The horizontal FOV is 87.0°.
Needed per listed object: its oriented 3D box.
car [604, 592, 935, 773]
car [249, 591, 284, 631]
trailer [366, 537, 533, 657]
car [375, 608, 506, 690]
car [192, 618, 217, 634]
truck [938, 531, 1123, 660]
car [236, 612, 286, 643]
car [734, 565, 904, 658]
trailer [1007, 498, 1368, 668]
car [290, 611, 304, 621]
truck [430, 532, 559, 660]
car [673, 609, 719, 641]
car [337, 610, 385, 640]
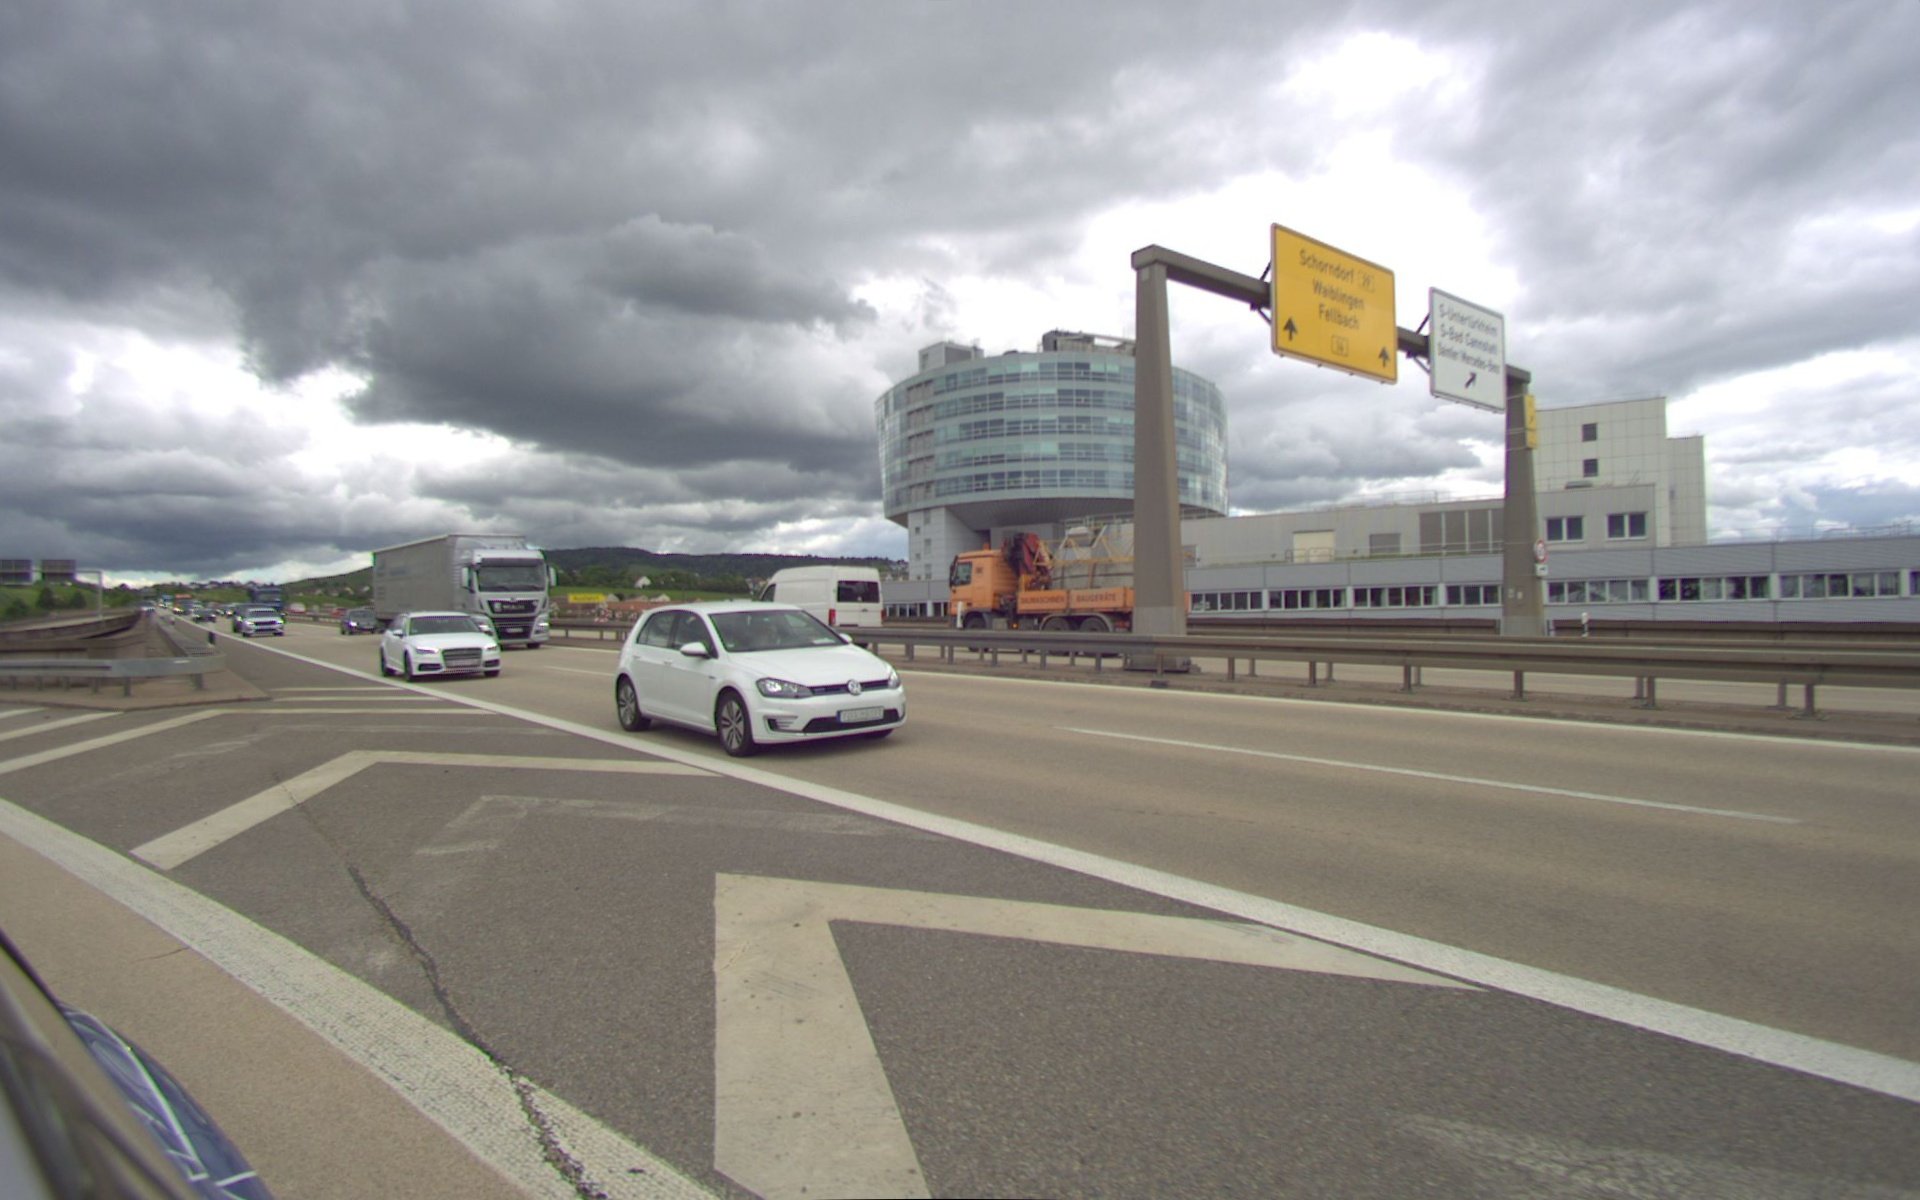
[{"bbox_3d":[-2.171,0.743,10.669,1.687,1.508,4.007,-1,-1,-39],"label":"car"},{"bbox_3d":[-66.668,1.090,97.241,2.328,3.688,4.808,-3,1,-38],"label":"car"},{"bbox_3d":[-20.728,-0.052,40.346,2.820,4.041,13.997,-1,0,-40],"label":"trailer"},{"bbox_3d":[-11.352,1.014,21.989,1.760,1.530,4.008,-2,0,-38],"label":"car"},{"bbox_3d":[-83.285,2.845,111.557,1.967,1.695,4.010,-1,-1,-34],"label":"car"},{"bbox_3d":[2.022,-0.014,30.160,2.707,3.506,5.114,2,-3,-40],"label":"truck"},{"bbox_3d":[-40.984,1.630,59.308,1.969,1.695,4.006,-1,-1,-40],"label":"car"},{"bbox_3d":[-4.638,0.413,32.392,2.546,2.664,6.202,0,-2,-39],"label":"car"},{"bbox_3d":[5.416,-0.199,26.253,2.700,3.664,9.370,3,-3,-41],"label":"trailer"},{"bbox_3d":[-109.358,2.586,166.940,1.662,1.529,3.657,-3,1,-38],"label":"car"},{"bbox_3d":[-16.049,-0.121,34.738,2.820,4.041,4.800,-1,0,-40],"label":"truck"},{"bbox_3d":[-19.116,1.753,73.150,1.967,2.028,4.011,-6,3,-32],"label":"car"},{"bbox_3d":[-34.158,1.429,57.650,1.760,1.529,4.008,-3,1,-38],"label":"car"}]
